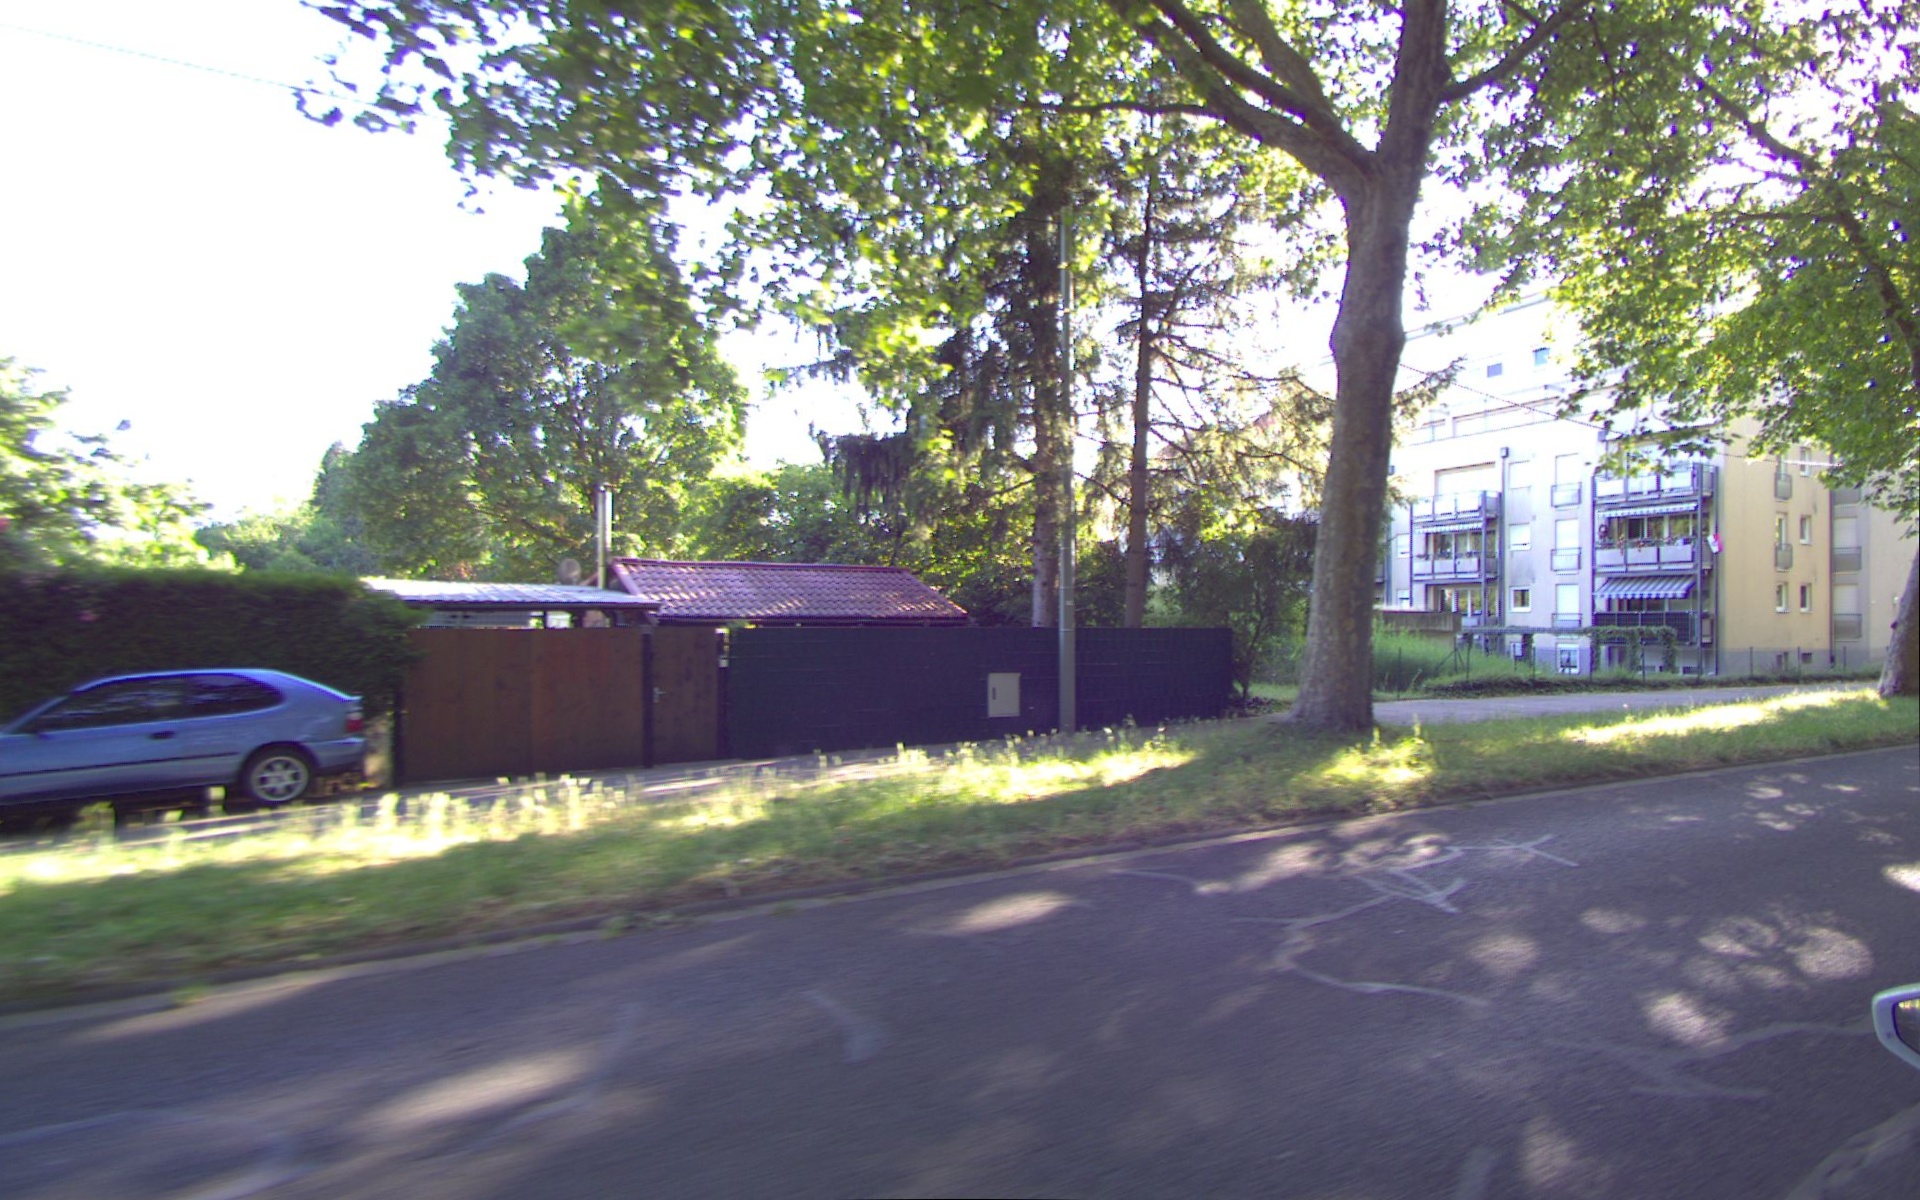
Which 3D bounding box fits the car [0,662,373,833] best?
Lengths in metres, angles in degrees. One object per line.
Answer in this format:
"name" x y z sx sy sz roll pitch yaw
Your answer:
"car" -8.072 1.359 9.795 3.959 1.321 1.741 0 -1 -34
